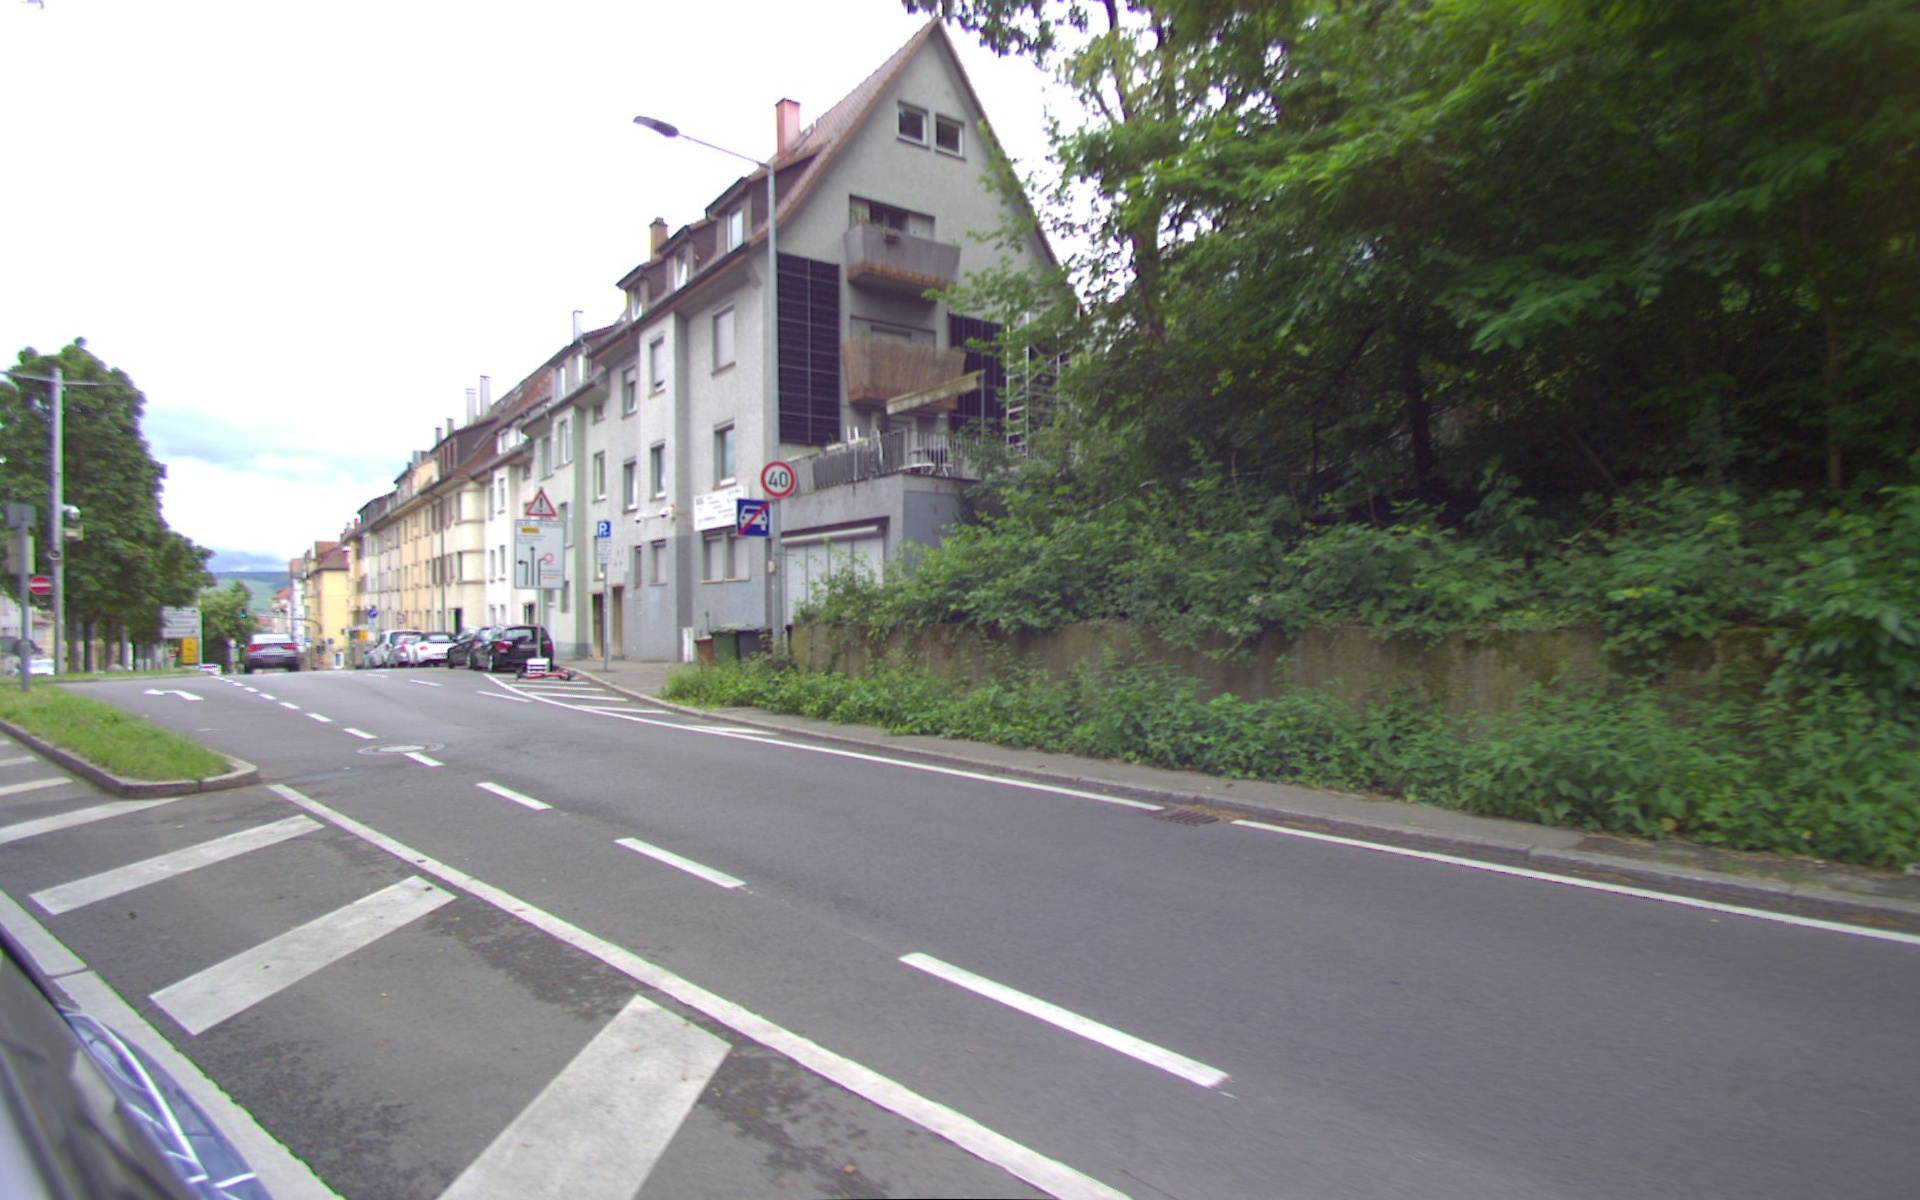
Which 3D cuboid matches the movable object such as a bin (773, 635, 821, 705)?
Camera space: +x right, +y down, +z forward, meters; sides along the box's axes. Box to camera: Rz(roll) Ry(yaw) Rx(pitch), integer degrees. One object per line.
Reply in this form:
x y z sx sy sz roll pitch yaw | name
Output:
-2.533 1.076 15.728 0.430 1.032 0.550 -3 1 39 | movable object such as a bin

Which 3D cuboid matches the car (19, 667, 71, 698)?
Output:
-50.232 4.484 55.602 1.756 1.605 3.541 3 -4 -37 | car

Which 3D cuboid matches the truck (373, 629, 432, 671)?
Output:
-28.384 2.588 51.432 1.967 1.935 5.359 0 -4 -36 | truck

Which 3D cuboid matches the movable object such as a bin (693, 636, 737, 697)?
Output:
-4.122 1.112 17.031 0.444 0.974 0.511 -3 1 39 | movable object such as a bin

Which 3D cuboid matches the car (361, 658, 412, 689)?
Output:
-31.891 4.100 56.232 1.967 1.564 4.167 0 -4 -37 | car

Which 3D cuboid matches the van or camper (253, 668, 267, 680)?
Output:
-116.030 12.285 167.815 1.882 1.775 4.665 -1 -4 -35 | van or camper

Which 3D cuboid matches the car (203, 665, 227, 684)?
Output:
-66.454 6.657 90.283 1.722 1.478 4.596 0 -4 -36 | car

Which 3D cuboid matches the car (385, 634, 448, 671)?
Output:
-25.130 2.451 46.700 1.967 1.564 4.391 0 -4 -36 | car

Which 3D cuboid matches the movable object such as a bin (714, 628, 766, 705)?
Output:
-3.599 1.074 16.591 0.491 1.194 0.599 -3 1 39 | movable object such as a bin

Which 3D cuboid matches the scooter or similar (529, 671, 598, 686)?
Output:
-9.249 1.835 23.641 1.098 0.290 1.112 -2 -3 39 | scooter or similar

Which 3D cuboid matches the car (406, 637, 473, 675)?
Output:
-22.062 2.388 42.843 1.967 1.486 4.168 0 -4 -35 | car

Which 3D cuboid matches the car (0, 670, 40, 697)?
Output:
-58.945 5.182 63.244 1.756 1.605 3.541 3 -4 -37 | car

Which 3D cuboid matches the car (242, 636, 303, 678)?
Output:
-30.094 2.432 44.238 1.846 1.711 4.945 0 -2 -38 | car

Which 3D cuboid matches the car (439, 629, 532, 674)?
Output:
-16.571 1.815 35.255 1.968 1.434 4.219 0 -4 -39 | car

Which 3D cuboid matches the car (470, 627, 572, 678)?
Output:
-13.417 1.603 30.795 1.967 1.411 4.528 0 -3 -35 | car

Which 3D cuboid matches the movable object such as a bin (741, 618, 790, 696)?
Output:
-3.126 0.911 16.297 0.430 1.194 0.575 -3 1 39 | movable object such as a bin
